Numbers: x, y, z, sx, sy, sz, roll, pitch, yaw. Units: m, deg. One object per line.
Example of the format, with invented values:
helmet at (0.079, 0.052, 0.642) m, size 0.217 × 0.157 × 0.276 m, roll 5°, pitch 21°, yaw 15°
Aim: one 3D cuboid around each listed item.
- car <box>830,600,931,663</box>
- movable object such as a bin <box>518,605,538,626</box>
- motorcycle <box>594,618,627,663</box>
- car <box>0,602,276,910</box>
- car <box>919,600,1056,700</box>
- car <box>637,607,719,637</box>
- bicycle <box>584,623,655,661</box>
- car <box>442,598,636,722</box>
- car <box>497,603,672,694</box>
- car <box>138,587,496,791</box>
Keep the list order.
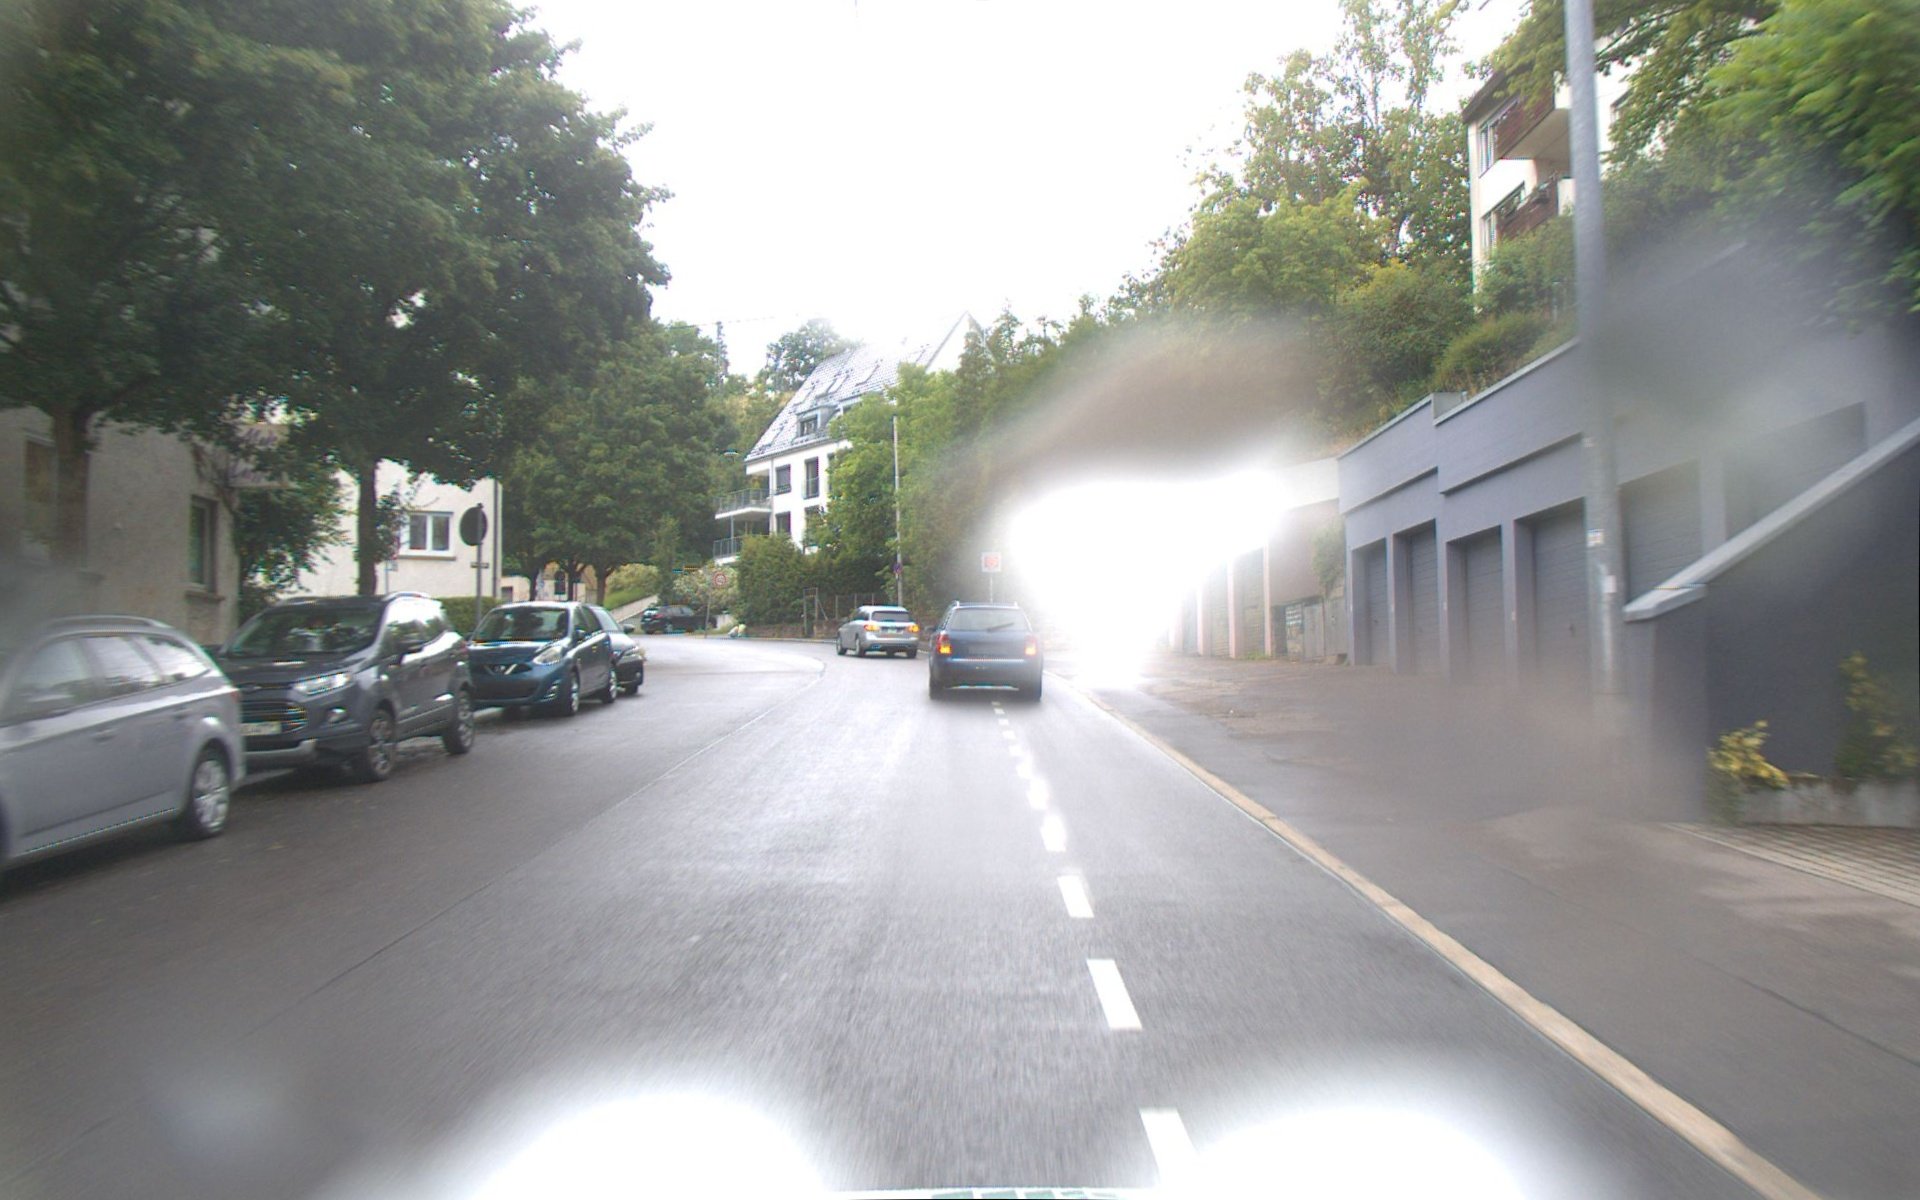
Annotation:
car at (-2.402, 0.895, 48.765) m, size 1.919 × 1.588 × 4.243 m, roll 4°, pitch 0°, yaw -17°
movable object such as a bin at (-25.416, 0.930, 97.232) m, size 0.769 × 1.206 × 0.861 m, roll 0°, pitch 0°, yaw 25°
motorcycle at (-9.747, 1.130, 46.136) m, size 0.545 × 1.225 × 1.399 m, roll 0°, pitch 0°, yaw 4°
car at (-5.833, 0.865, 9.551) m, size 1.768 × 1.579 × 4.798 m, roll -2°, pitch -2°, yaw -1°
car at (0.351, 0.727, 26.114) m, size 1.817 × 1.439 × 4.358 m, roll 0°, pitch 0°, yaw -4°
car at (-14.822, 1.151, 87.002) m, size 1.708 × 1.534 × 4.161 m, roll 0°, pitch -1°, yaw 39°
bicycle at (-10.101, 1.239, 49.051) m, size 1.938 × 1.079 × 0.748 m, roll 0°, pitch 0°, yaw -25°
car at (-5.802, 0.775, 23.253) m, size 1.677 × 1.488 × 3.881 m, roll 2°, pitch 1°, yaw 0°
car at (-6.427, 0.781, 27.975) m, size 1.970 × 1.415 × 4.161 m, roll 0°, pitch -1°, yaw -27°
car at (-5.864, 0.754, 15.669) m, size 1.768 × 1.655 × 4.138 m, roll 1°, pitch -1°, yaw 0°
